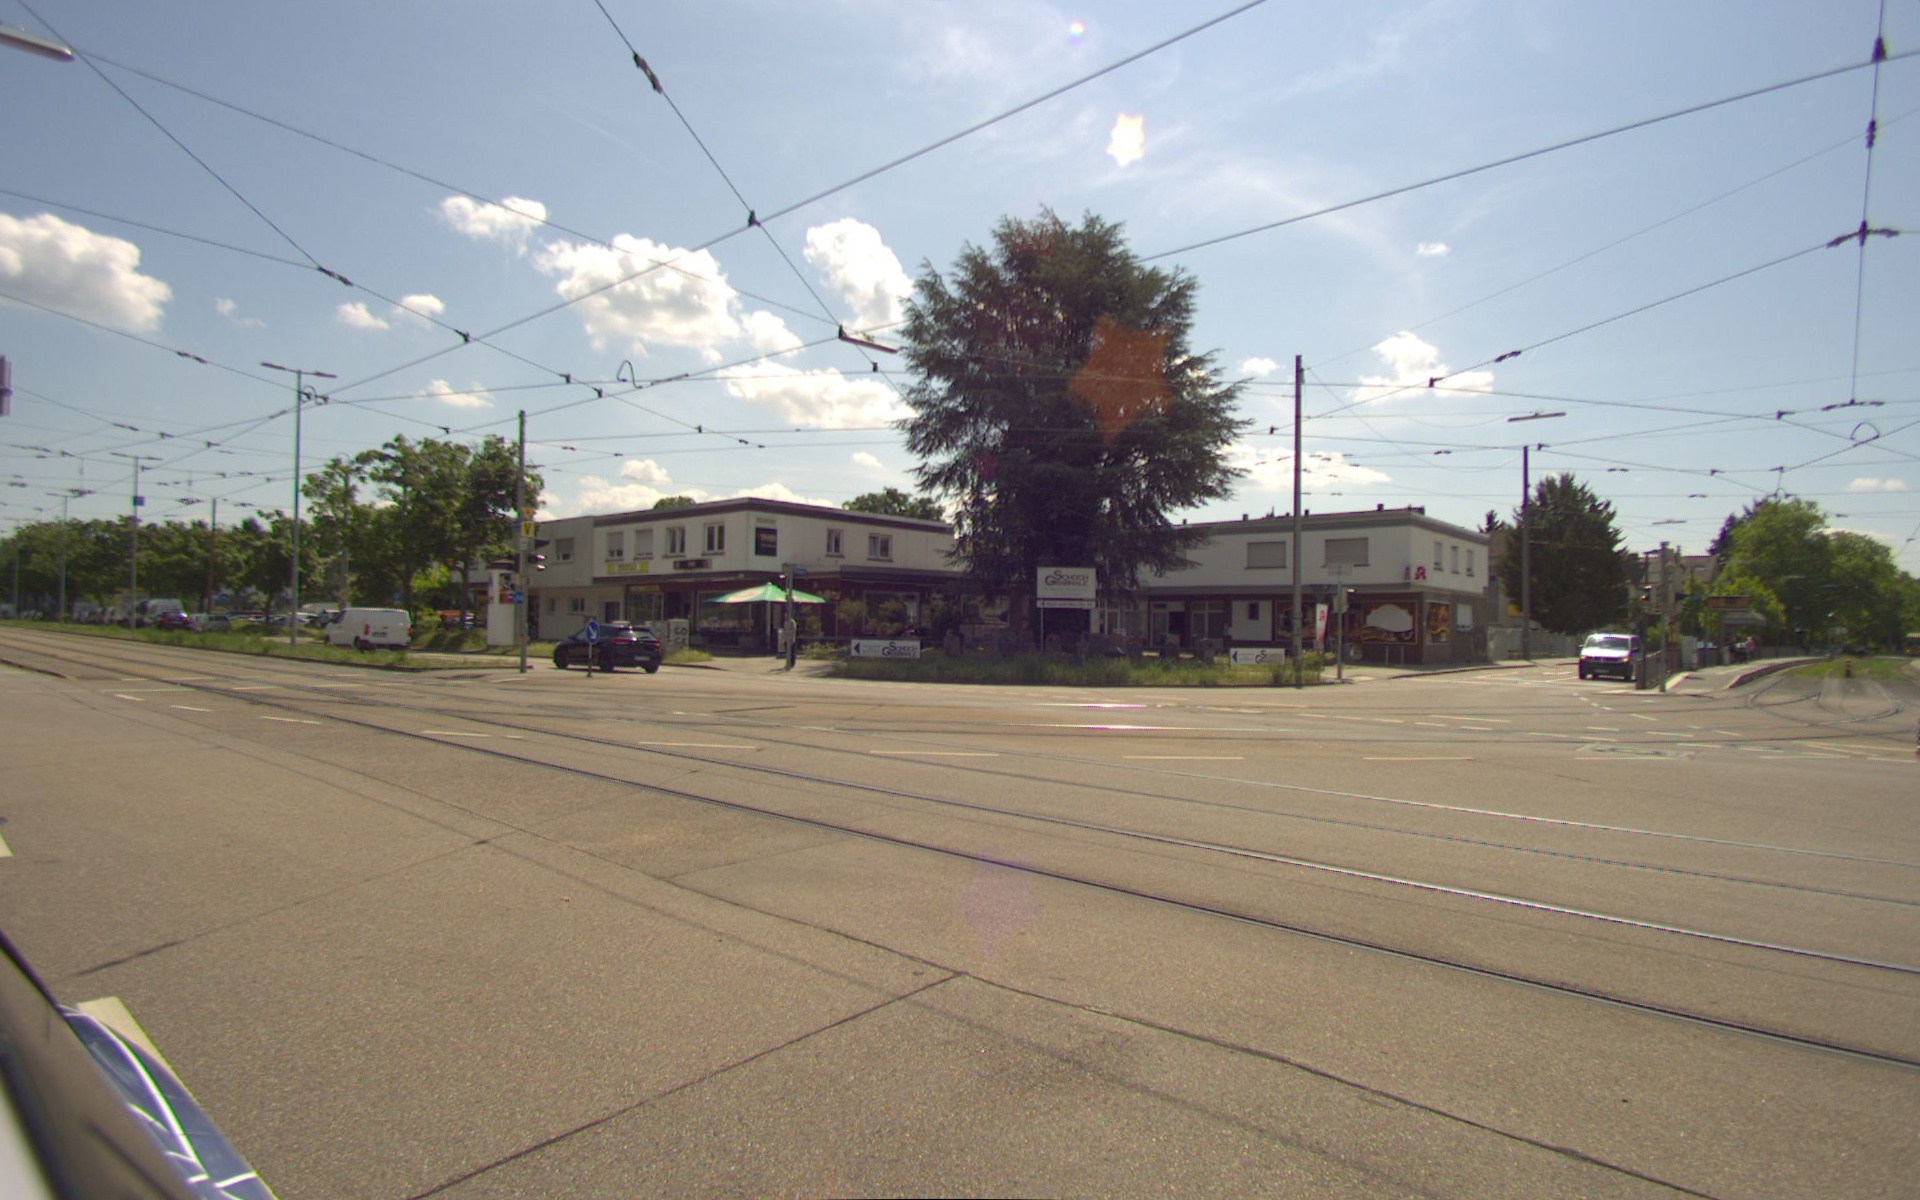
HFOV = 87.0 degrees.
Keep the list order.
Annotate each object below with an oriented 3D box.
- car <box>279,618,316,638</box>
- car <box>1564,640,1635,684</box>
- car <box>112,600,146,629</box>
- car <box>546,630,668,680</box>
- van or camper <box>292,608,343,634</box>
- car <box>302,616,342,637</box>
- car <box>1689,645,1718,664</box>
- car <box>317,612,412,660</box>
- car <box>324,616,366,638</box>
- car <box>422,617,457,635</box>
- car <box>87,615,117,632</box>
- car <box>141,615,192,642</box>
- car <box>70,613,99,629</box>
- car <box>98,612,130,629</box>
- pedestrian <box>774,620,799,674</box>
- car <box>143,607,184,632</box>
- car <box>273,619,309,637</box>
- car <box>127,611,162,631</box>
[{"bbox_3d":[-59.729,2.545,91.263,3.998,1.706,1.722,-1,-3,41],"label":"car"},{"bbox_3d":[27.415,2.640,43.334,1.999,1.741,3.945,-1,-3,41],"label":"car"},{"bbox_3d":[-77.947,1.378,94.928,3.997,2.608,1.722,-1,-3,41],"label":"car"},{"bbox_3d":[-10.790,1.639,30.862,3.998,1.364,1.761,-1,-3,41],"label":"car"},{"bbox_3d":[-83.035,2.748,130.883,2.246,3.141,5.090,-1,-3,41],"label":"van or camper"},{"bbox_3d":[-53.828,2.256,85.346,3.997,1.706,1.722,-1,-3,41],"label":"car"},{"bbox_3d":[69.525,5.101,94.617,1.998,1.533,3.947,0,0,40],"label":"car"},{"bbox_3d":[-24.827,1.474,42.139,4.549,1.890,1.840,-1,-3,38],"label":"car"},{"bbox_3d":[-50.202,2.209,82.546,3.997,1.706,1.722,-1,-3,41],"label":"car"},{"bbox_3d":[-52.629,2.624,102.377,3.997,1.706,1.722,-1,-3,41],"label":"car"},{"bbox_3d":[-89.406,2.432,105.394,3.997,1.706,1.722,-1,-3,41],"label":"car"},{"bbox_3d":[-49.664,1.759,63.296,3.997,1.608,1.722,-1,-3,41],"label":"car"},{"bbox_3d":[-94.380,2.236,109.102,3.997,1.706,1.722,-1,-3,41],"label":"car"},{"bbox_3d":[-84.352,2.046,100.910,3.997,1.706,1.722,-1,-3,41],"label":"car"},{"bbox_3d":[-5.931,1.597,34.614,0.679,1.788,0.485,0,2,22],"label":"pedestrian"},{"bbox_3d":[-66.939,1.654,85.057,3.997,1.980,1.941,-1,-3,41],"label":"car"},{"bbox_3d":[-63.123,2.632,95.455,3.998,1.706,1.722,-1,-3,41],"label":"car"},{"bbox_3d":[-72.018,1.827,89.364,3.998,1.706,1.722,-1,-3,41],"label":"car"}]
